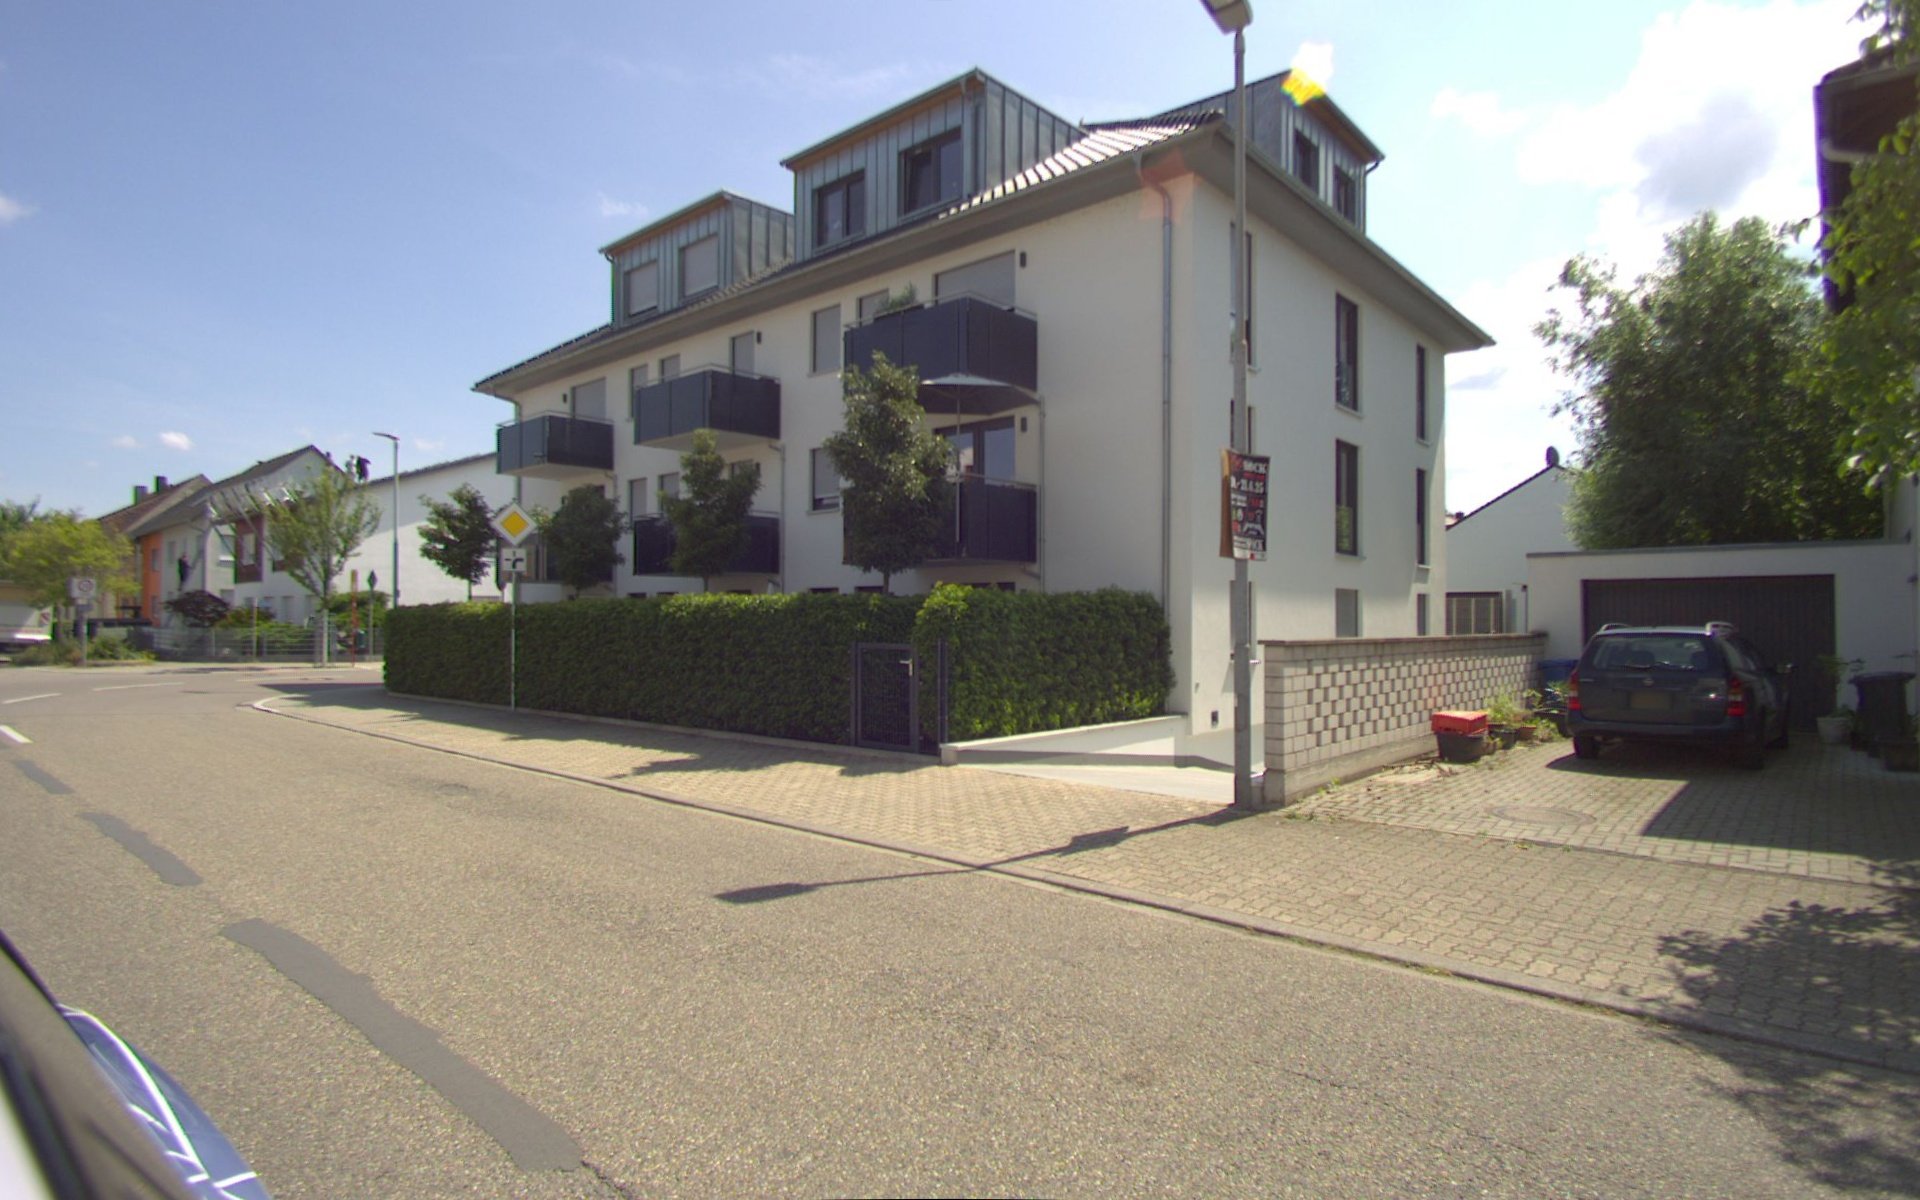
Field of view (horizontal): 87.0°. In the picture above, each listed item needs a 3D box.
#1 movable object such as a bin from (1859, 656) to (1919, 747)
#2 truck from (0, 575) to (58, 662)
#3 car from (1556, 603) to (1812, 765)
[{"bbox_3d":[10.150,1.091,11.015,0.528,0.907,0.620,-1,0,43],"label":"movable object such as a bin"},{"bbox_3d":[-39.300,0.763,41.365,7.030,3.271,2.413,-1,-5,40],"label":"truck"},{"bbox_3d":[8.278,0.844,11.435,1.794,1.503,3.869,-3,-3,44],"label":"car"}]
